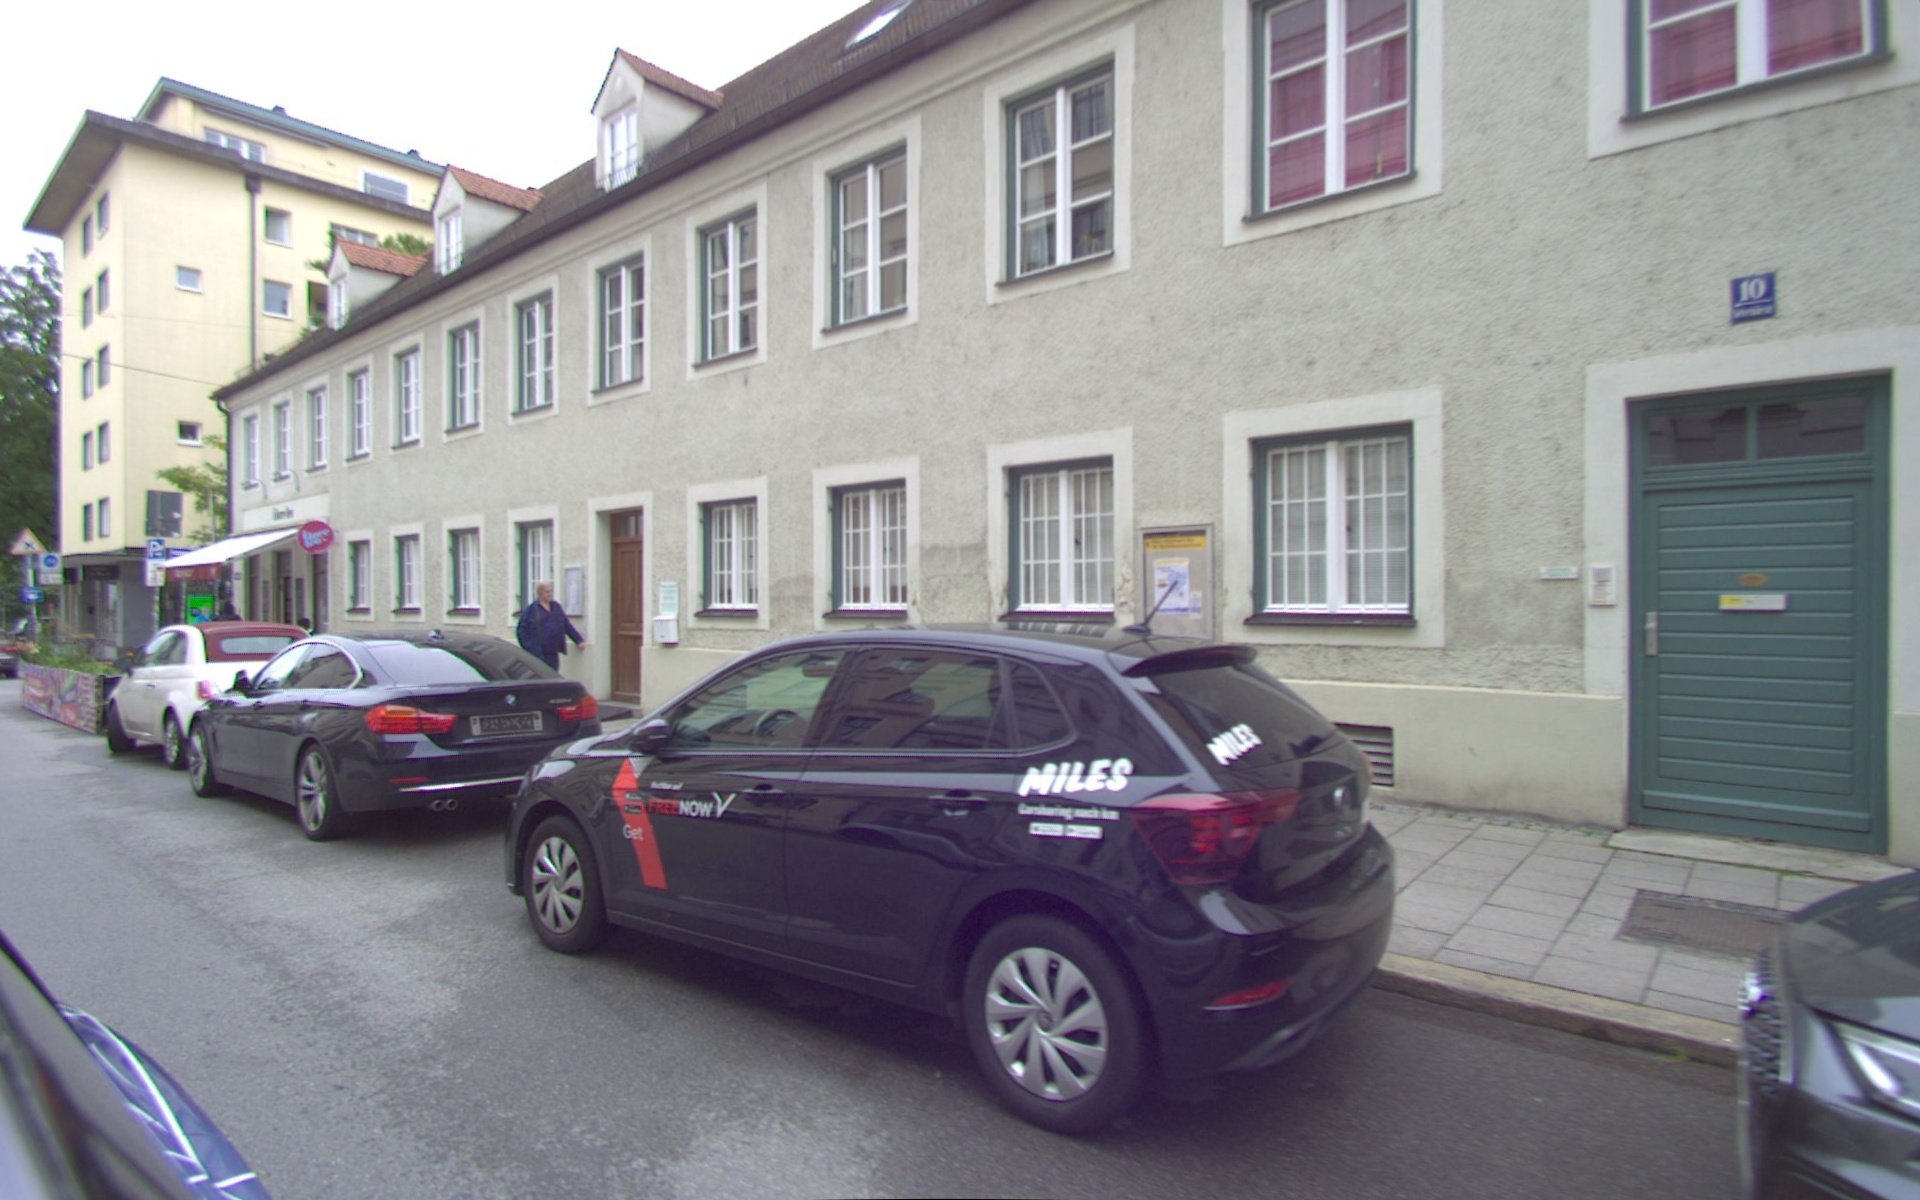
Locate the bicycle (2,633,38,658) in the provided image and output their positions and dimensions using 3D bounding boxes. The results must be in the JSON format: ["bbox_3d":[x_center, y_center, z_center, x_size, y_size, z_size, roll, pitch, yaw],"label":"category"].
[{"bbox_3d":[-45.503,2.198,49.006,0.573,1.134,2.305,-2,0,-25],"label":"bicycle"}]

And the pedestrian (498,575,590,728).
[{"bbox_3d":[-5.437,0.648,13.233,0.827,1.912,0.814,0,0,40],"label":"pedestrian"}]

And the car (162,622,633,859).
[{"bbox_3d":[-4.721,0.899,8.146,4.682,1.349,1.780,-2,-1,40],"label":"car"}]

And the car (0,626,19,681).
[{"bbox_3d":[-28.104,1.487,28.472,4.944,1.482,1.663,-2,-2,39],"label":"car"}]

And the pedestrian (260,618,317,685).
[{"bbox_3d":[-13.562,1.019,20.438,0.693,1.299,0.795,0,0,41],"label":"pedestrian"}]

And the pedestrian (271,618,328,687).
[{"bbox_3d":[-13.022,1.023,19.956,0.693,1.300,0.795,0,0,41],"label":"pedestrian"}]

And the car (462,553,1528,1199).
[{"bbox_3d":[-0.190,0.677,4.173,4.195,1.507,1.738,-1,0,39],"label":"car"}]

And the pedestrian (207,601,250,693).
[{"bbox_3d":[-14.771,0.925,20.429,0.877,1.795,0.523,0,0,41],"label":"pedestrian"}]

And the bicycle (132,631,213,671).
[{"bbox_3d":[-22.912,1.467,29.481,0.392,1.042,1.798,-3,0,43],"label":"bicycle"}]

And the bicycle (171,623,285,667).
[{"bbox_3d":[-23.293,1.395,32.255,0.818,1.220,2.811,0,2,43],"label":"bicycle"}]

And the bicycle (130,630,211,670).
[{"bbox_3d":[-23.203,1.466,29.761,0.392,1.042,1.798,-3,0,43],"label":"bicycle"}]

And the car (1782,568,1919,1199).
[{"bbox_3d":[3.471,0.653,0.918,4.125,1.452,1.799,-2,-2,38],"label":"car"}]

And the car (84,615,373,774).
[{"bbox_3d":[-8.466,0.955,11.627,3.709,1.486,1.738,-1,0,38],"label":"car"}]

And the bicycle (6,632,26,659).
[{"bbox_3d":[-44.058,2.111,47.224,1.854,1.219,0.555,-1,0,44],"label":"bicycle"}]
